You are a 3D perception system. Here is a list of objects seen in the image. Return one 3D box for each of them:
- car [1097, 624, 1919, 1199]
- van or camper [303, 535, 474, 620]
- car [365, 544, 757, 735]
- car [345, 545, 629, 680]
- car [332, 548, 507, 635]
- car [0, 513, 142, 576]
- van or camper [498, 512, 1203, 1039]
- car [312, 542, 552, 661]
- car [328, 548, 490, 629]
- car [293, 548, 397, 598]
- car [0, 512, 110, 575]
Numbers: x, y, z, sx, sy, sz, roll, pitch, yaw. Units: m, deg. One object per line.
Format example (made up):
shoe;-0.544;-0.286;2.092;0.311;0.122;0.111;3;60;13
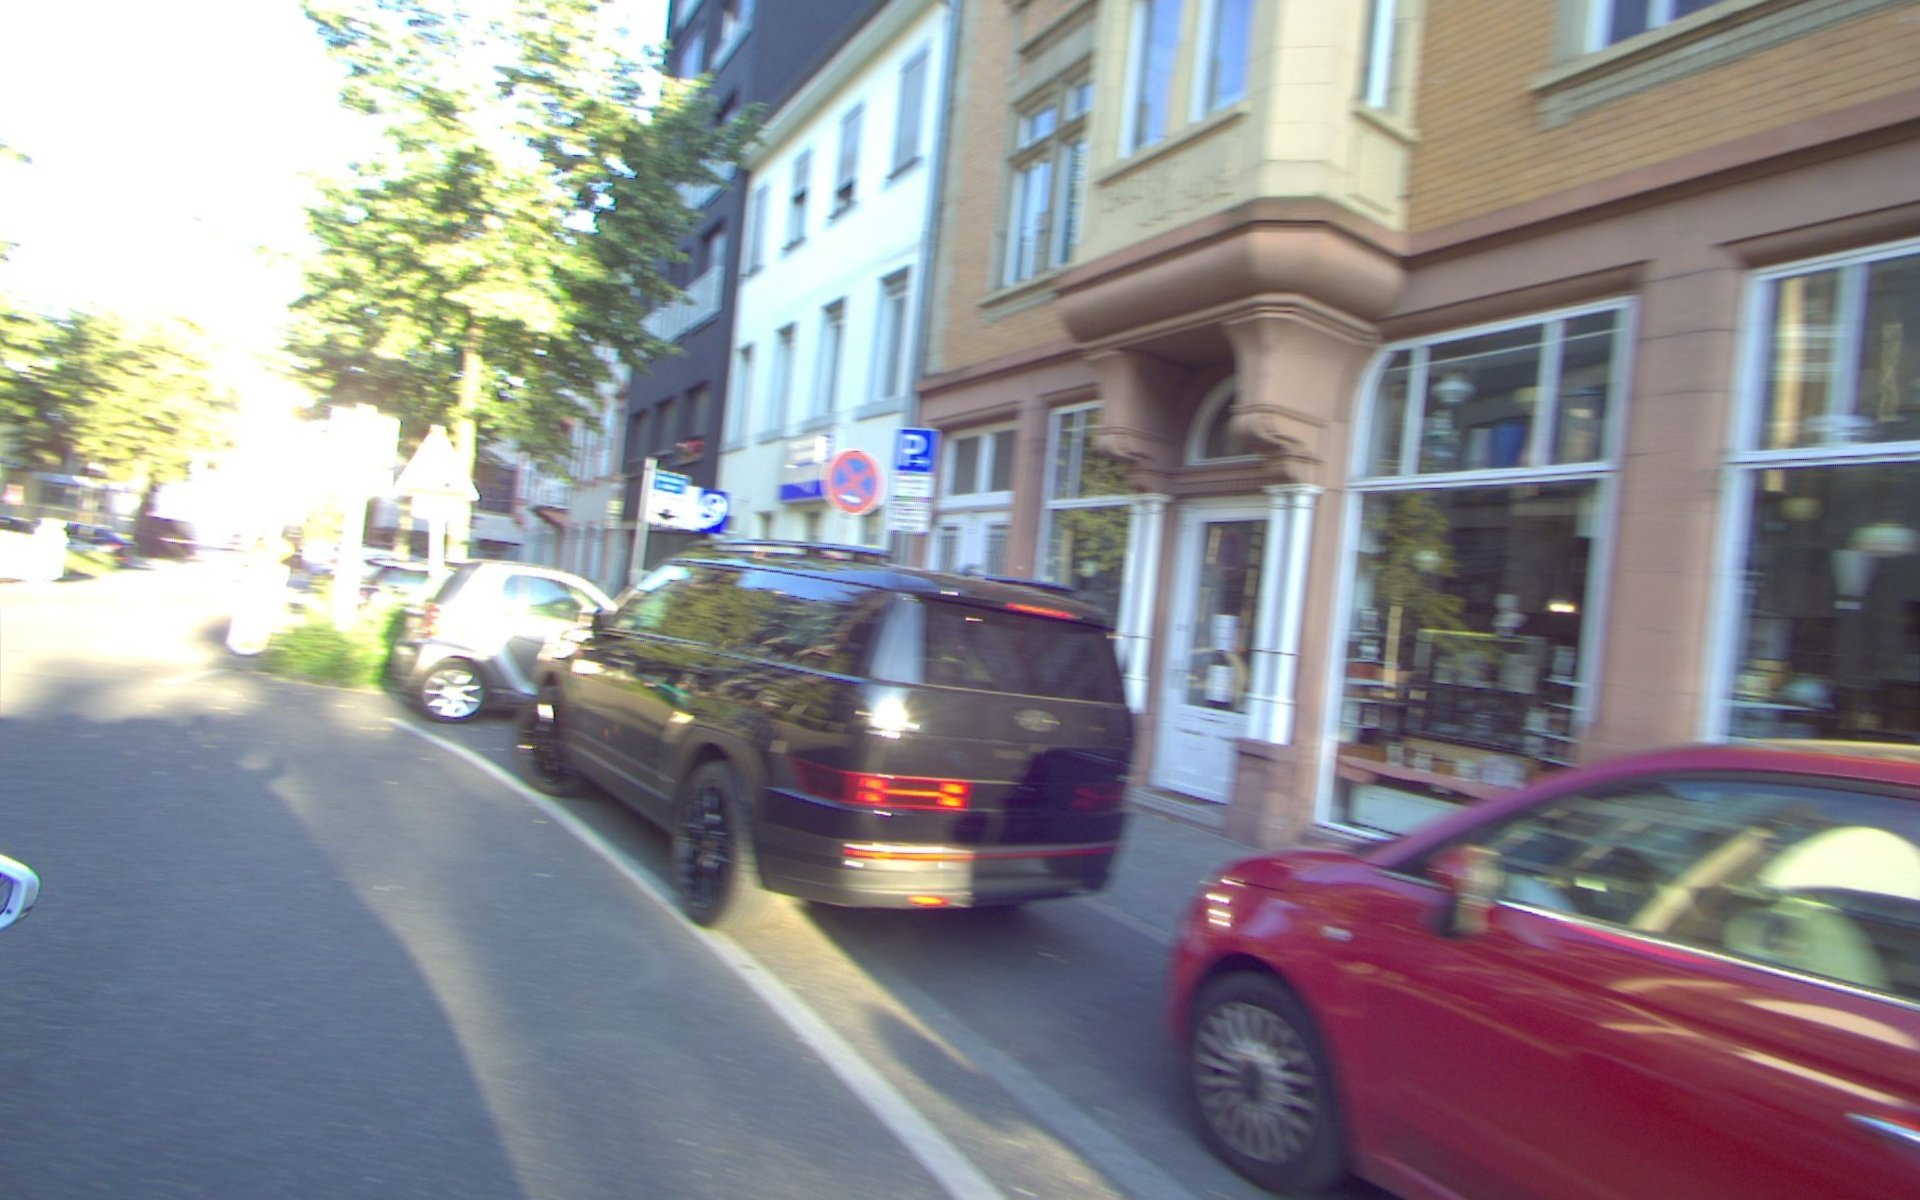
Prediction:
car;2.055;1.035;2.347;1.515;1.588;3.395;8;-2;-31
van or camper;-18.175;-0.696;32.071;4.415;2.028;1.841;9;-2;-35
car;-4.099;0.447;10.517;3.449;1.594;1.494;7;-1;-35
car;-7.956;0.237;17.041;3.973;1.689;1.841;9;-2;-35
car;-13.943;-0.215;26.003;3.664;1.689;1.841;9;-2;-35
car;-31.644;-1.960;35.458;3.957;1.704;1.877;7;-1;-30
van or camper;-1.045;0.595;5.812;1.880;1.829;4.416;8;-1;-37
car;-9.887;0.053;18.908;3.664;1.689;1.841;9;-2;-35
car;-15.270;-0.315;27.921;3.664;1.689;1.841;9;-2;-35
car;-25.464;-1.070;41.811;1.824;1.586;3.700;7;-2;1
car;-30.687;-1.932;32.917;3.957;1.704;1.877;7;-1;-30
